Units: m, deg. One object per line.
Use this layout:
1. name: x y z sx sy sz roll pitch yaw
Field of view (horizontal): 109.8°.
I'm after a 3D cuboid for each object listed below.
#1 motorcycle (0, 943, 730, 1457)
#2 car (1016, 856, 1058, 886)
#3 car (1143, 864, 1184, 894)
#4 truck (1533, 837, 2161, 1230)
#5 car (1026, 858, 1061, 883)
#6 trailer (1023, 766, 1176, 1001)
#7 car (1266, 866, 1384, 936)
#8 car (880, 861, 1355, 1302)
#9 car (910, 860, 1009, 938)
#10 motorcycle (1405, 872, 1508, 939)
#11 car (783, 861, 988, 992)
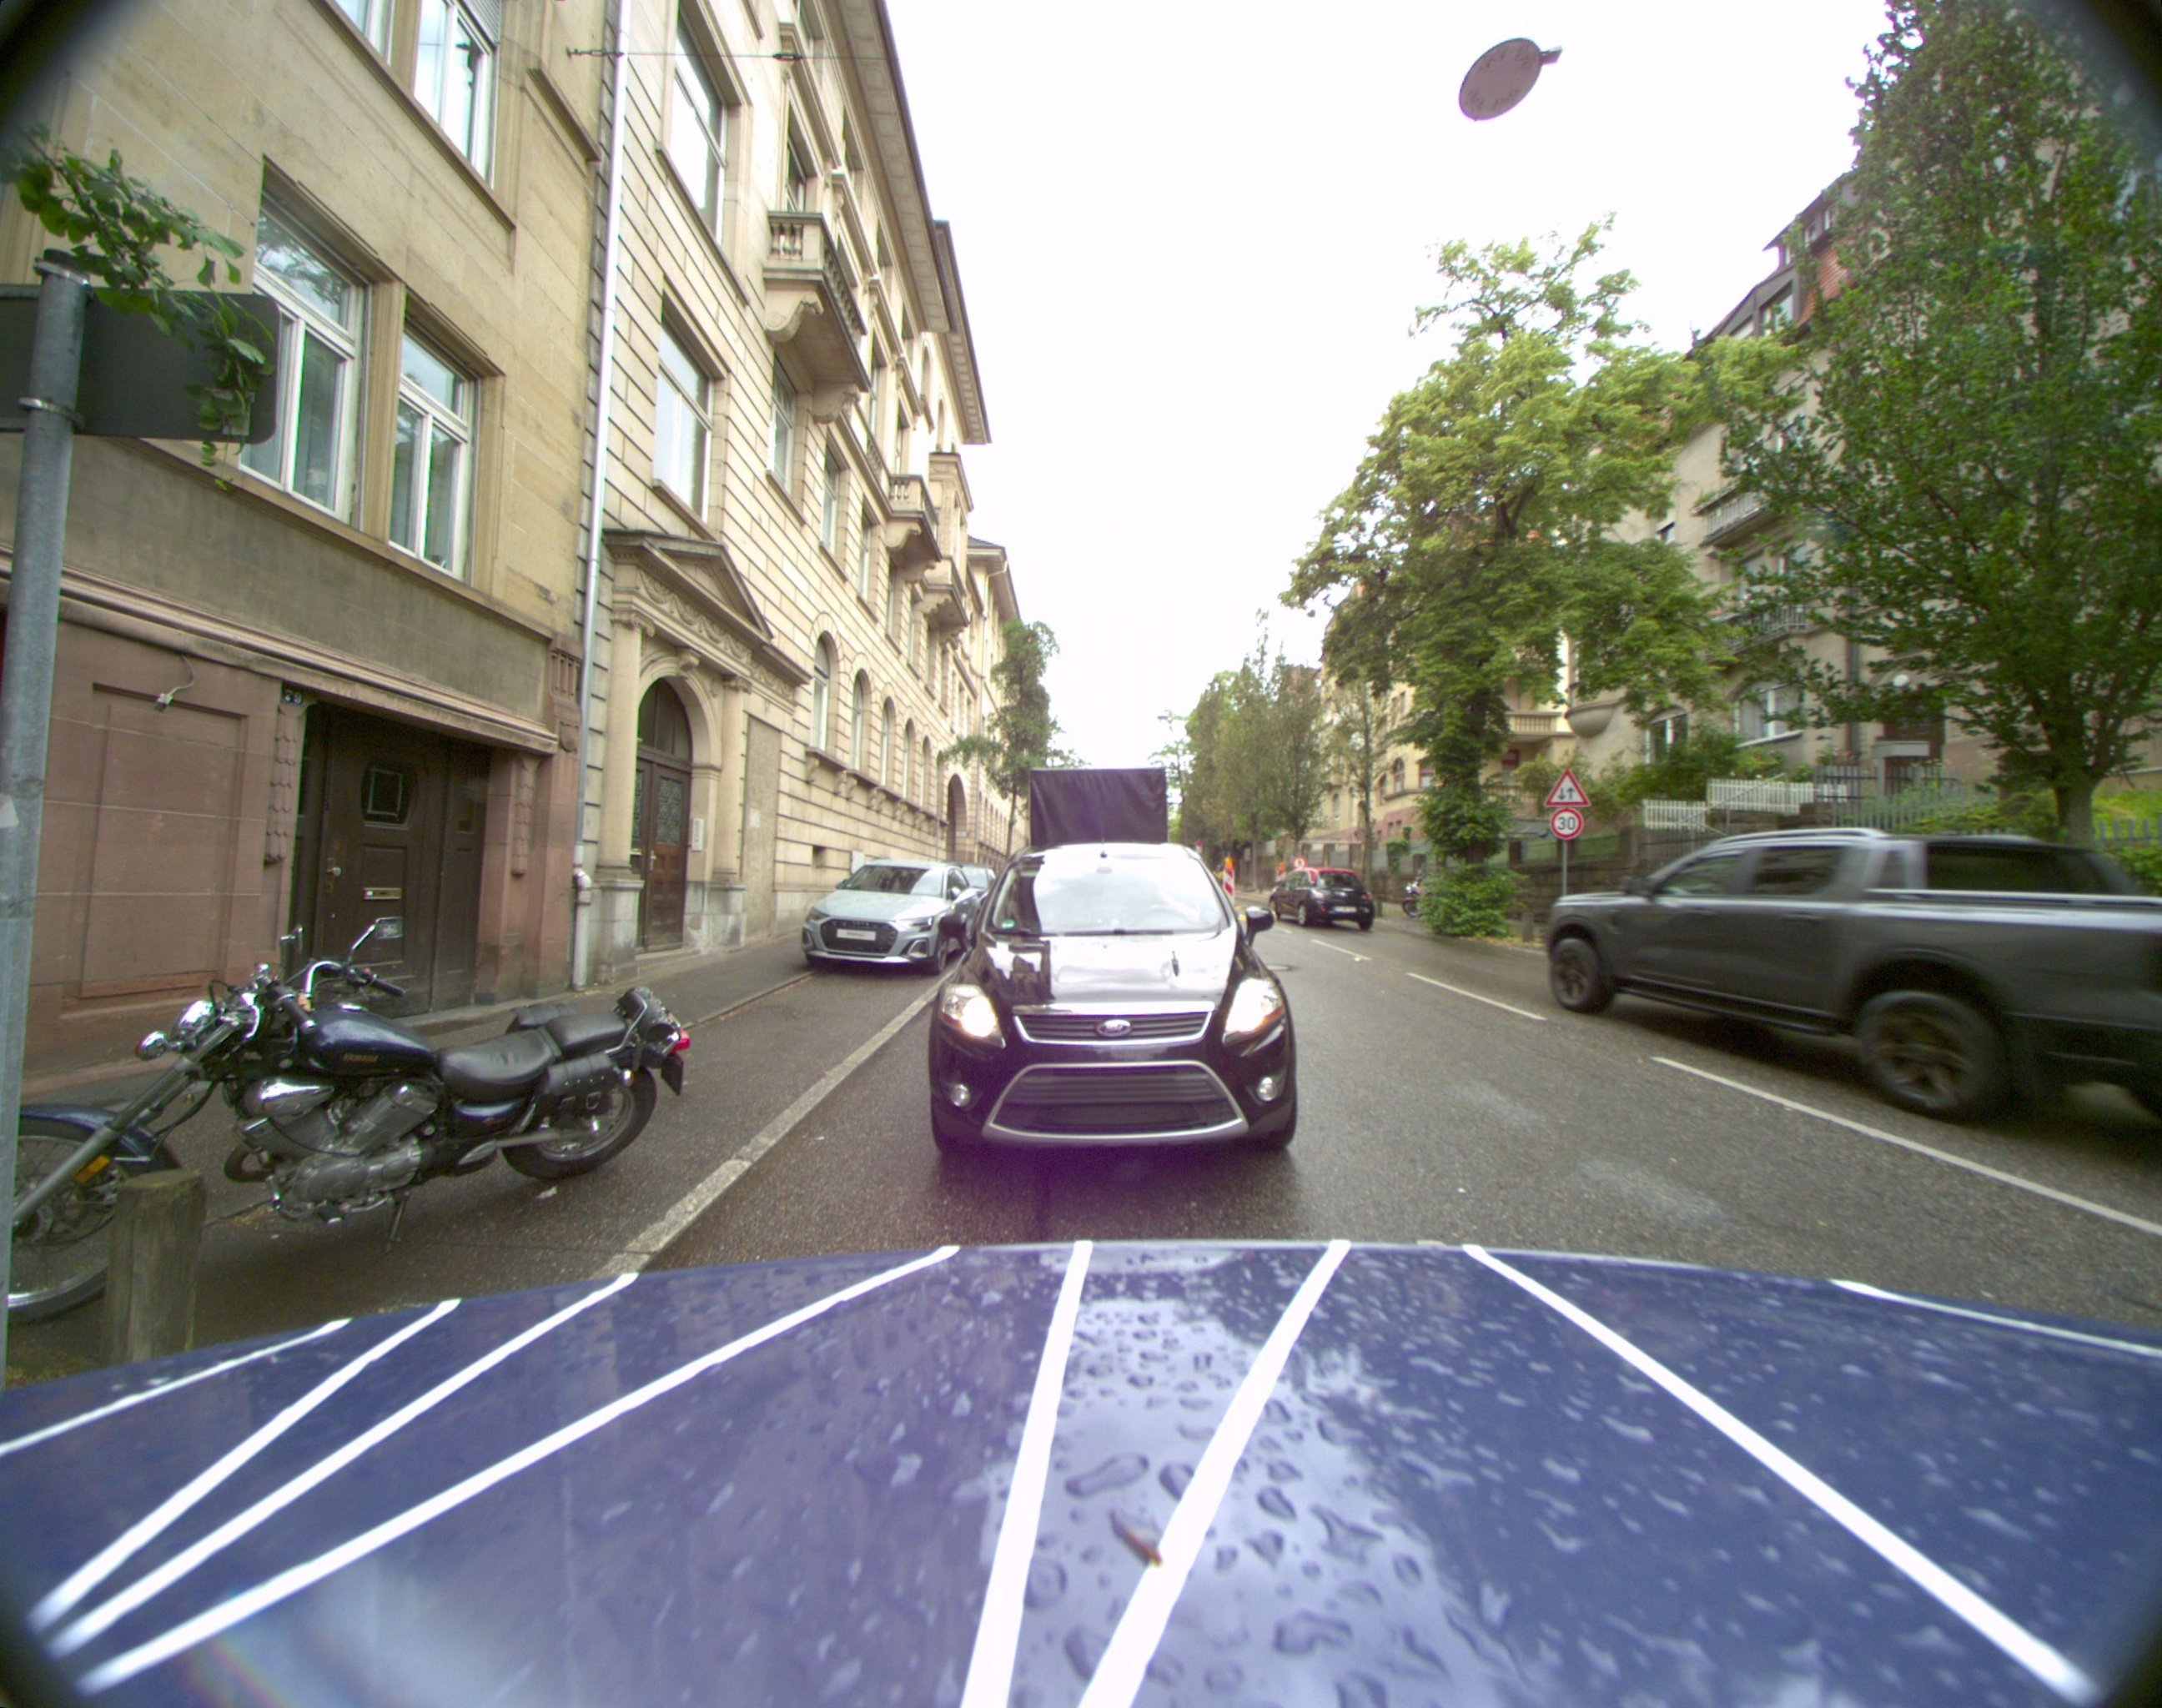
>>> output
1. motorcycle: -2.563 1.009 2.746 0.523 1.236 2.282 3 -1 39
2. car: -2.399 0.904 42.461 1.910 1.502 4.318 3 0 1
3. car: 4.610 1.383 42.809 1.910 1.502 4.318 1 0 1
4. truck: 6.114 0.892 5.946 2.075 1.825 5.154 2 0 1
5. car: -2.471 1.043 50.589 1.910 1.502 4.318 3 0 1
6. trailer: 0.218 0.332 11.333 1.783 2.744 4.816 0 1 0
7. car: 6.026 1.104 19.176 1.670 1.463 3.656 3 0 -1
8. car: 0.194 0.898 5.185 1.823 1.662 4.522 0 0 1
9. car: -2.555 0.901 16.634 1.495 1.440 3.181 3 0 1
10. motorcycle: 8.894 1.159 18.199 0.802 1.406 3.061 -2 0 -2
11. car: -2.599 0.890 11.151 1.794 1.444 4.039 3 0 1
